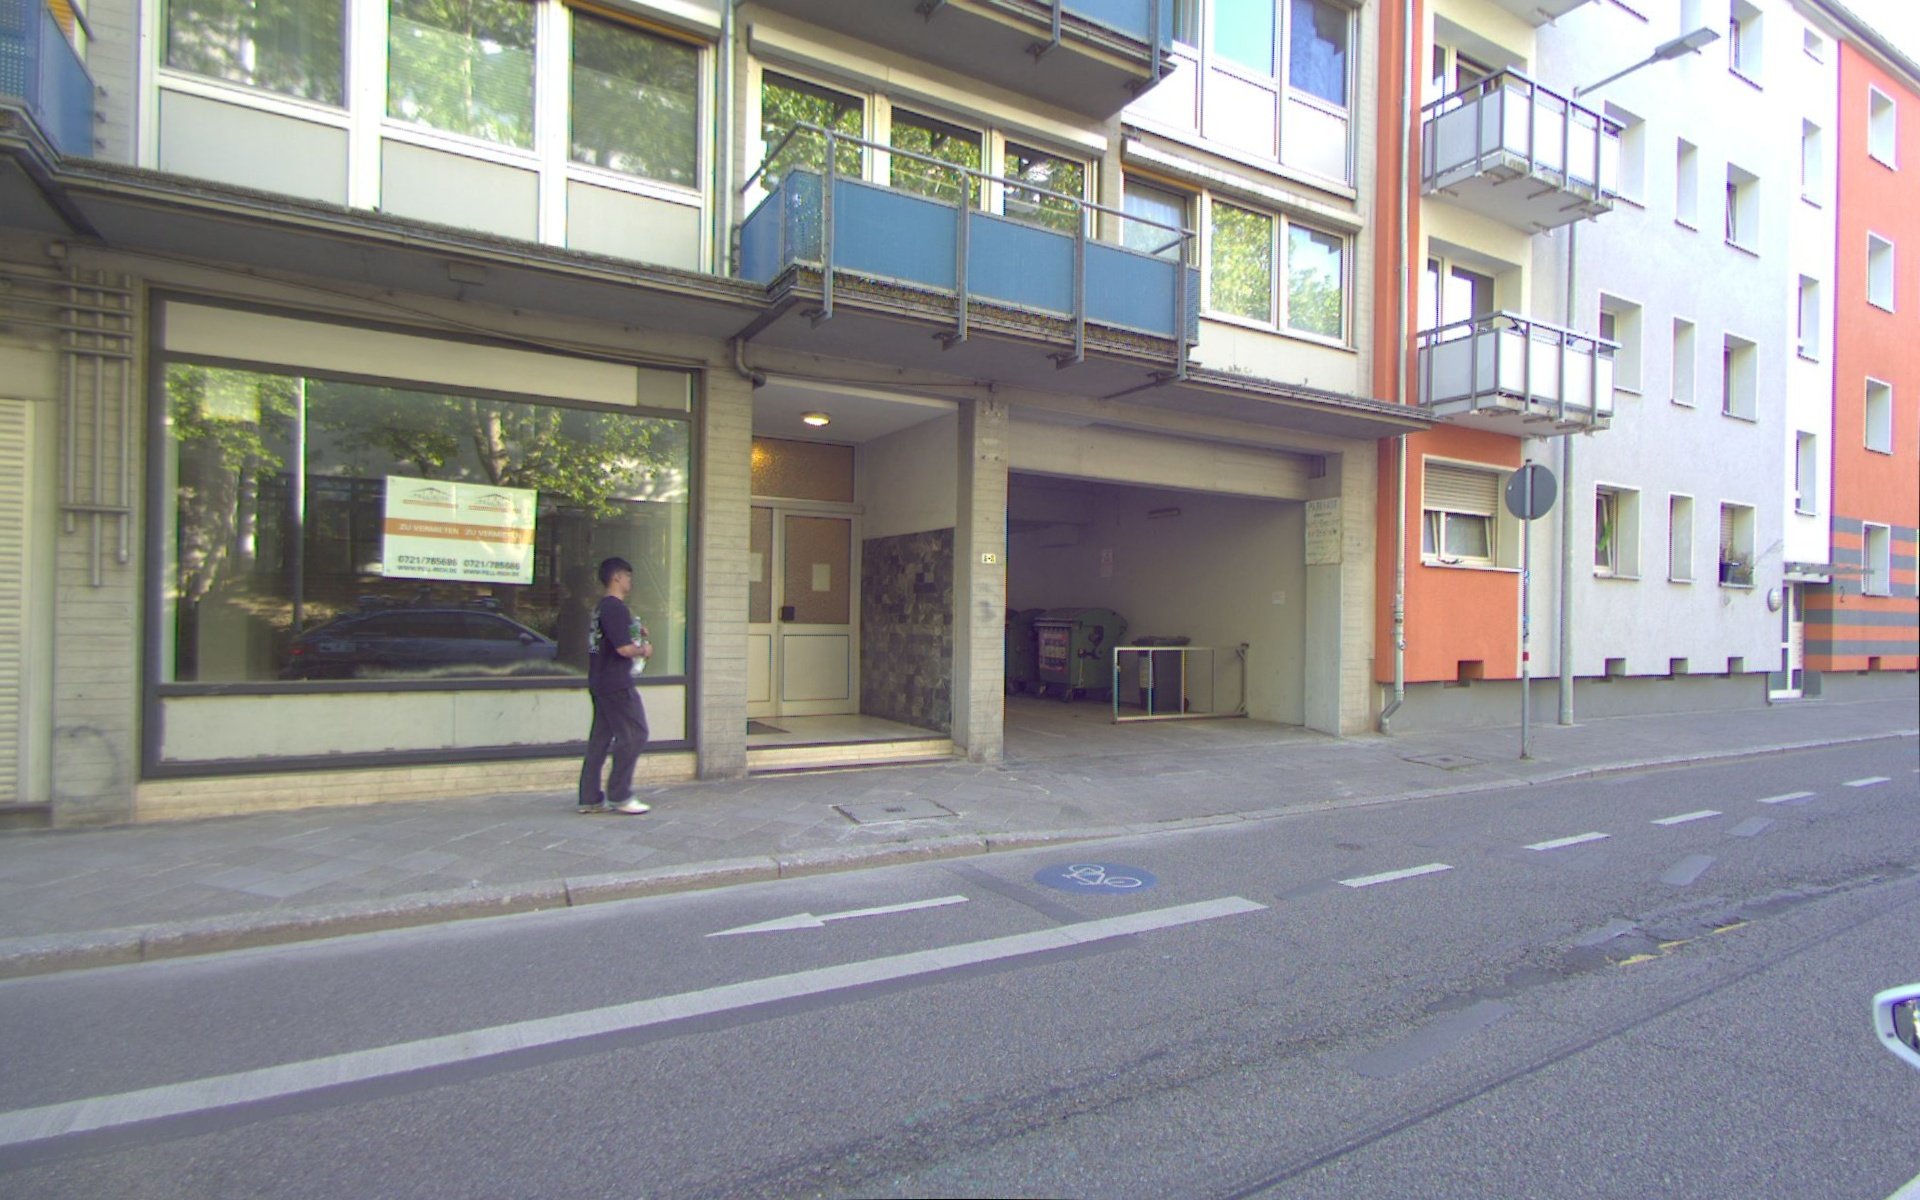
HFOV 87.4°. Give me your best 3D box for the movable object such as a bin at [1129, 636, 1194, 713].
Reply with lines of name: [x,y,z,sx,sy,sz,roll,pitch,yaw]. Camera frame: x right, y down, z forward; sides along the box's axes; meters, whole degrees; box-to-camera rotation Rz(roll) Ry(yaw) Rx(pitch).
movable object such as a bin: [2.904,1.057,14.468,0.704,1.054,0.583,1,0,-30]

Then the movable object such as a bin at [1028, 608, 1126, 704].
movable object such as a bin: [1.827,0.853,15.824,1.009,1.438,1.321,1,0,-23]

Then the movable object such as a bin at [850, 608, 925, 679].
movable object such as a bin: [-1.498,0.873,20.655,1.014,1.409,1.264,1,0,-37]

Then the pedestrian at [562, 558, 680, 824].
pedestrian: [-2.384,0.606,7.059,0.621,1.764,0.525,1,0,41]

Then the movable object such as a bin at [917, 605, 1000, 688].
movable object such as a bin: [-0.041,0.838,18.661,1.011,1.462,1.318,1,0,-29]

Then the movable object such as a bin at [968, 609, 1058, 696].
movable object such as a bin: [0.890,0.866,17.149,1.011,1.409,1.319,1,0,-27]

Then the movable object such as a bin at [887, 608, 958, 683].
movable object such as a bin: [-0.739,0.866,19.679,1.012,1.409,1.046,1,0,-31]
